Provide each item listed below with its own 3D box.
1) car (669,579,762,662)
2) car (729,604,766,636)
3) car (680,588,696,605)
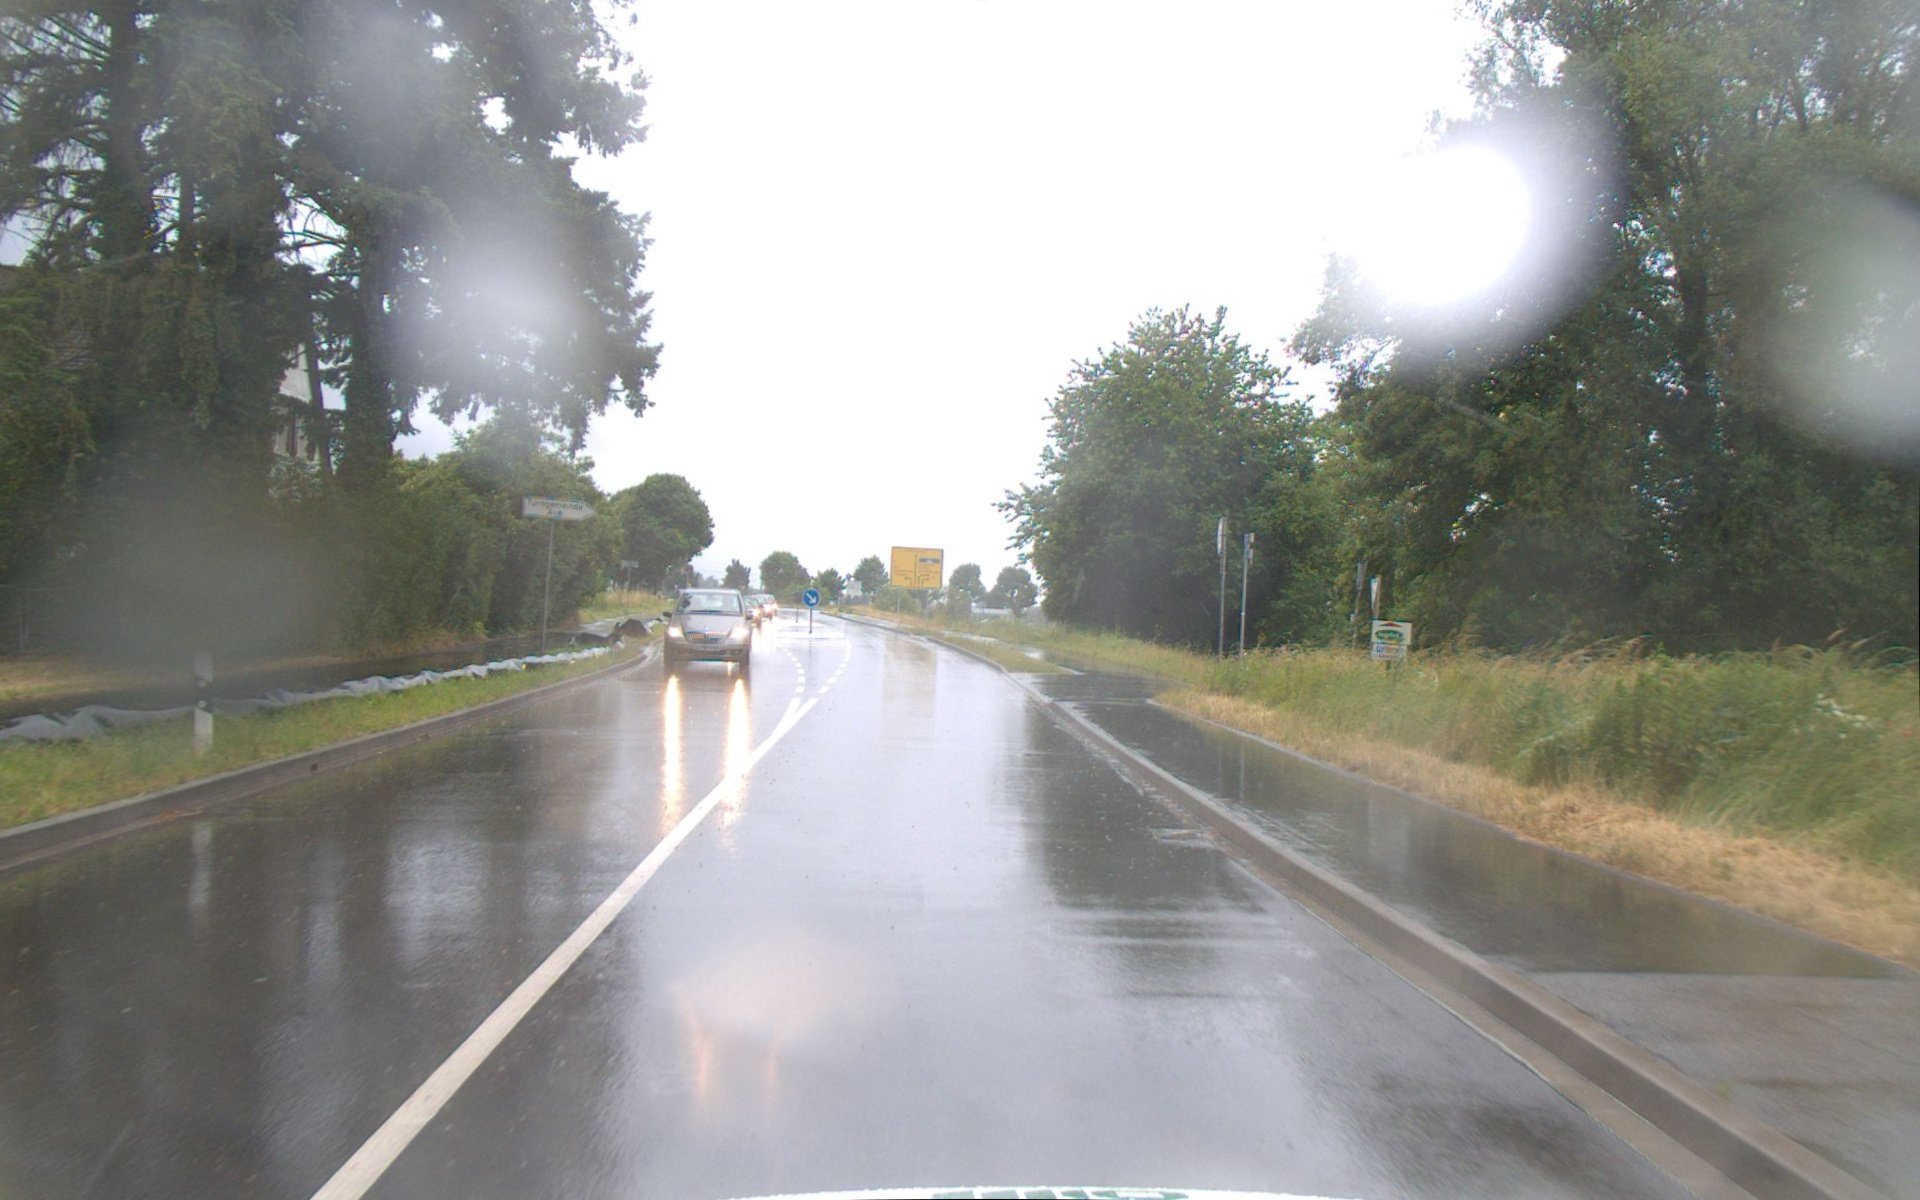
[{"bbox_3d":[-5.111,0.379,34.993,1.726,1.579,3.996,1,2,-5],"label":"car"},{"bbox_3d":[-10.044,0.916,78.124,1.651,1.407,4.217,0,0,-8],"label":"car"},{"bbox_3d":[-34.904,-0.461,212.063,1.957,2.006,4.947,2,1,-9],"label":"car"}]
